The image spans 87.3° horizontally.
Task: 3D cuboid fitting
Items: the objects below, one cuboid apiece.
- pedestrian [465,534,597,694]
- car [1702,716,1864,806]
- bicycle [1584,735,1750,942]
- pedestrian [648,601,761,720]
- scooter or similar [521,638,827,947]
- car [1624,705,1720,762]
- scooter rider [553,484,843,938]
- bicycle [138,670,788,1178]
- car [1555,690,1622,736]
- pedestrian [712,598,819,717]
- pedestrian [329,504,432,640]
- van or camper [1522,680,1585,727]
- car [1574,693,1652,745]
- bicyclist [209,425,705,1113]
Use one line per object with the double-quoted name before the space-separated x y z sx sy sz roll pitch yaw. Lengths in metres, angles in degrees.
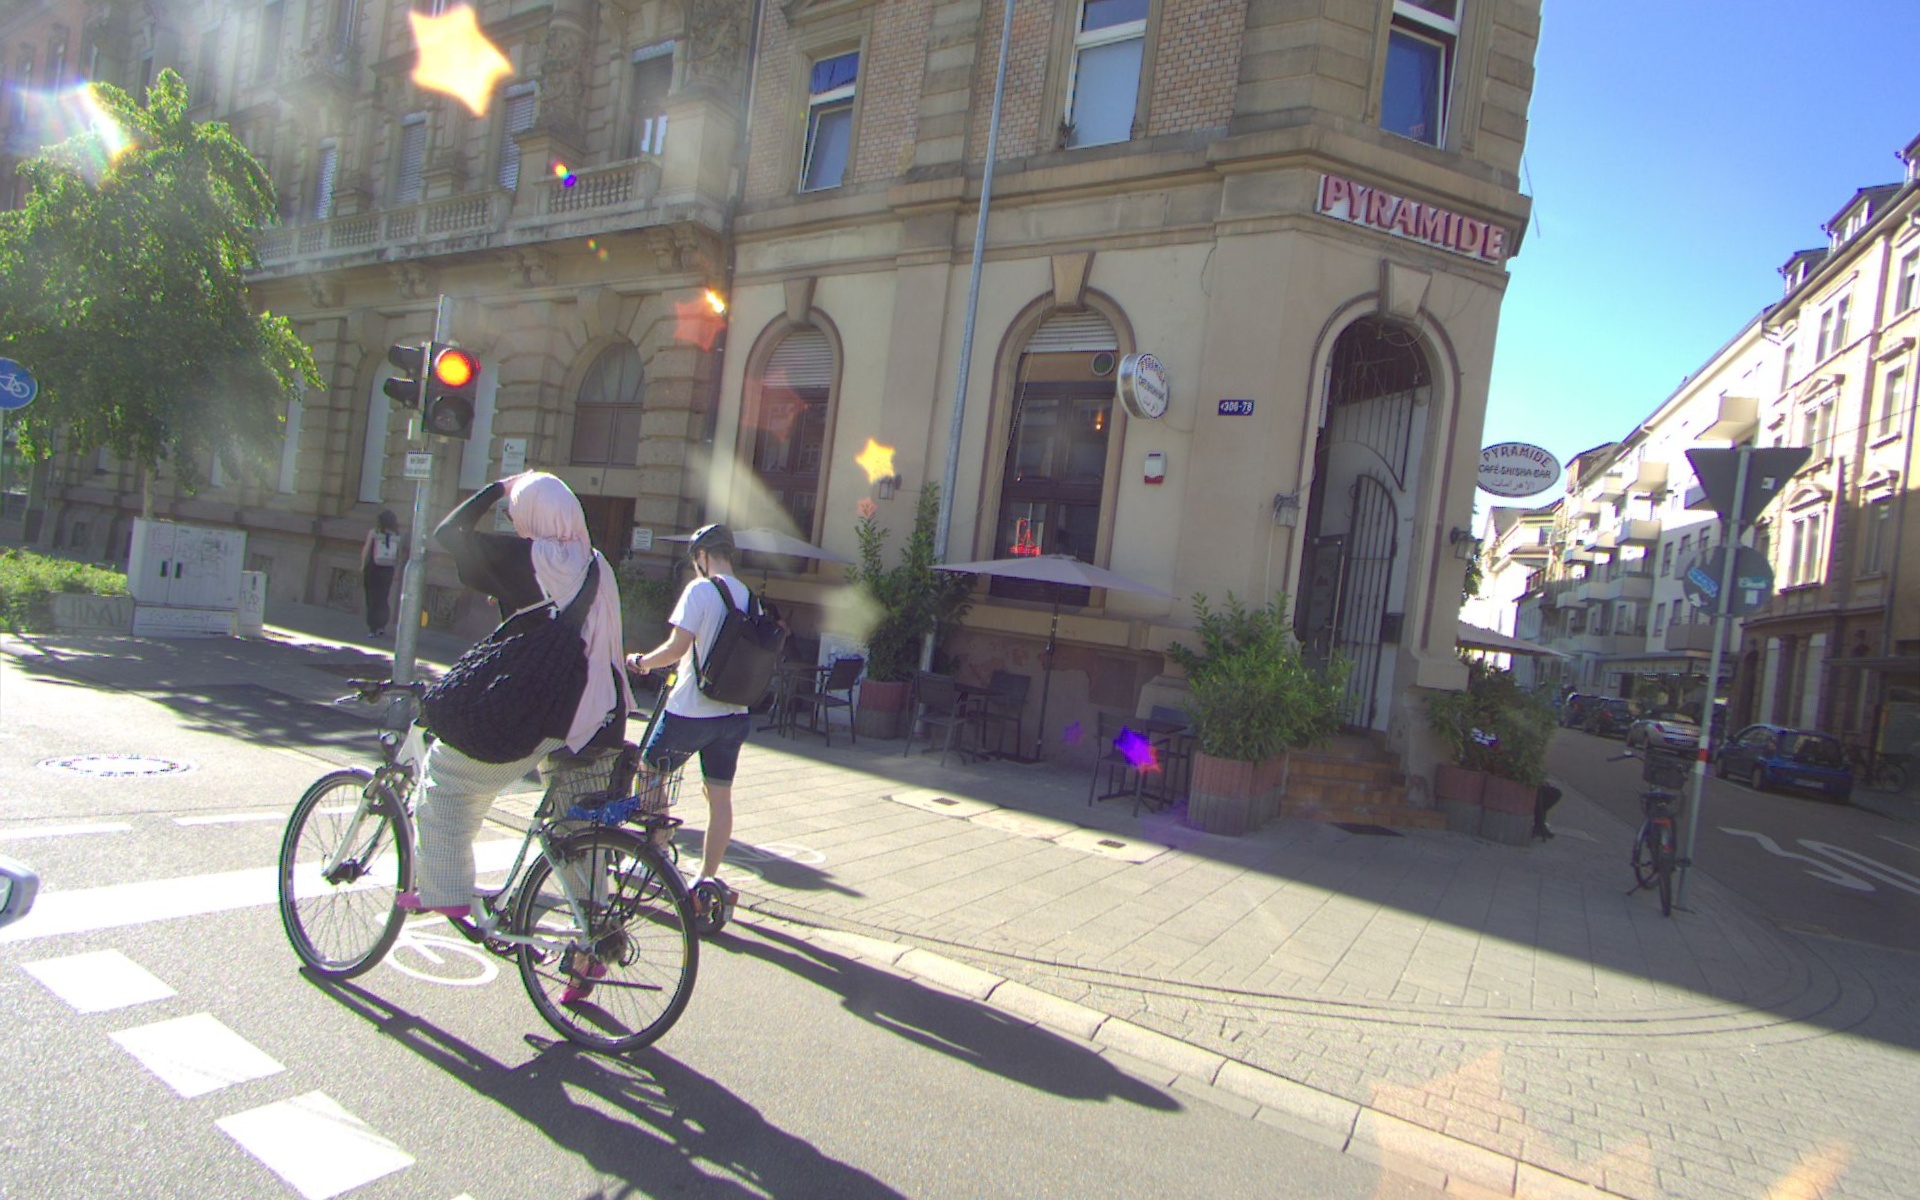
"pedestrian" -5.019 0.163 11.748 0.966 1.714 1.100 4 2 -44
"car" 18.392 3.532 22.686 1.587 1.428 3.703 7 -1 21
"bicycle" 5.776 1.823 8.175 0.804 1.247 2.211 11 2 38
"pedestrian" -2.870 0.673 11.301 0.867 1.197 0.718 6 0 31
"scooter or similar" -1.359 0.852 4.802 1.130 1.172 0.647 7 -1 26
"car" 21.652 4.017 30.701 1.600 1.337 3.389 7 -1 24
"scooter rider" -1.227 0.477 4.767 0.882 1.888 0.663 7 -1 27
"bicycle" -1.631 0.880 3.270 1.917 1.018 0.726 7 -1 24
"car" 25.893 4.630 41.561 1.599 1.424 3.439 9 1 22
"pedestrian" -2.336 0.692 12.100 0.873 1.298 0.726 6 0 31
"pedestrian" -8.863 -0.421 15.381 1.081 1.945 0.889 7 2 37
"van or camper" 30.232 5.223 51.377 1.850 1.867 4.545 9 1 22
"car" 23.866 4.306 36.877 1.599 1.424 3.439 9 1 22
"bicyclist" -1.615 0.454 3.292 1.071 1.839 0.726 7 -1 23
